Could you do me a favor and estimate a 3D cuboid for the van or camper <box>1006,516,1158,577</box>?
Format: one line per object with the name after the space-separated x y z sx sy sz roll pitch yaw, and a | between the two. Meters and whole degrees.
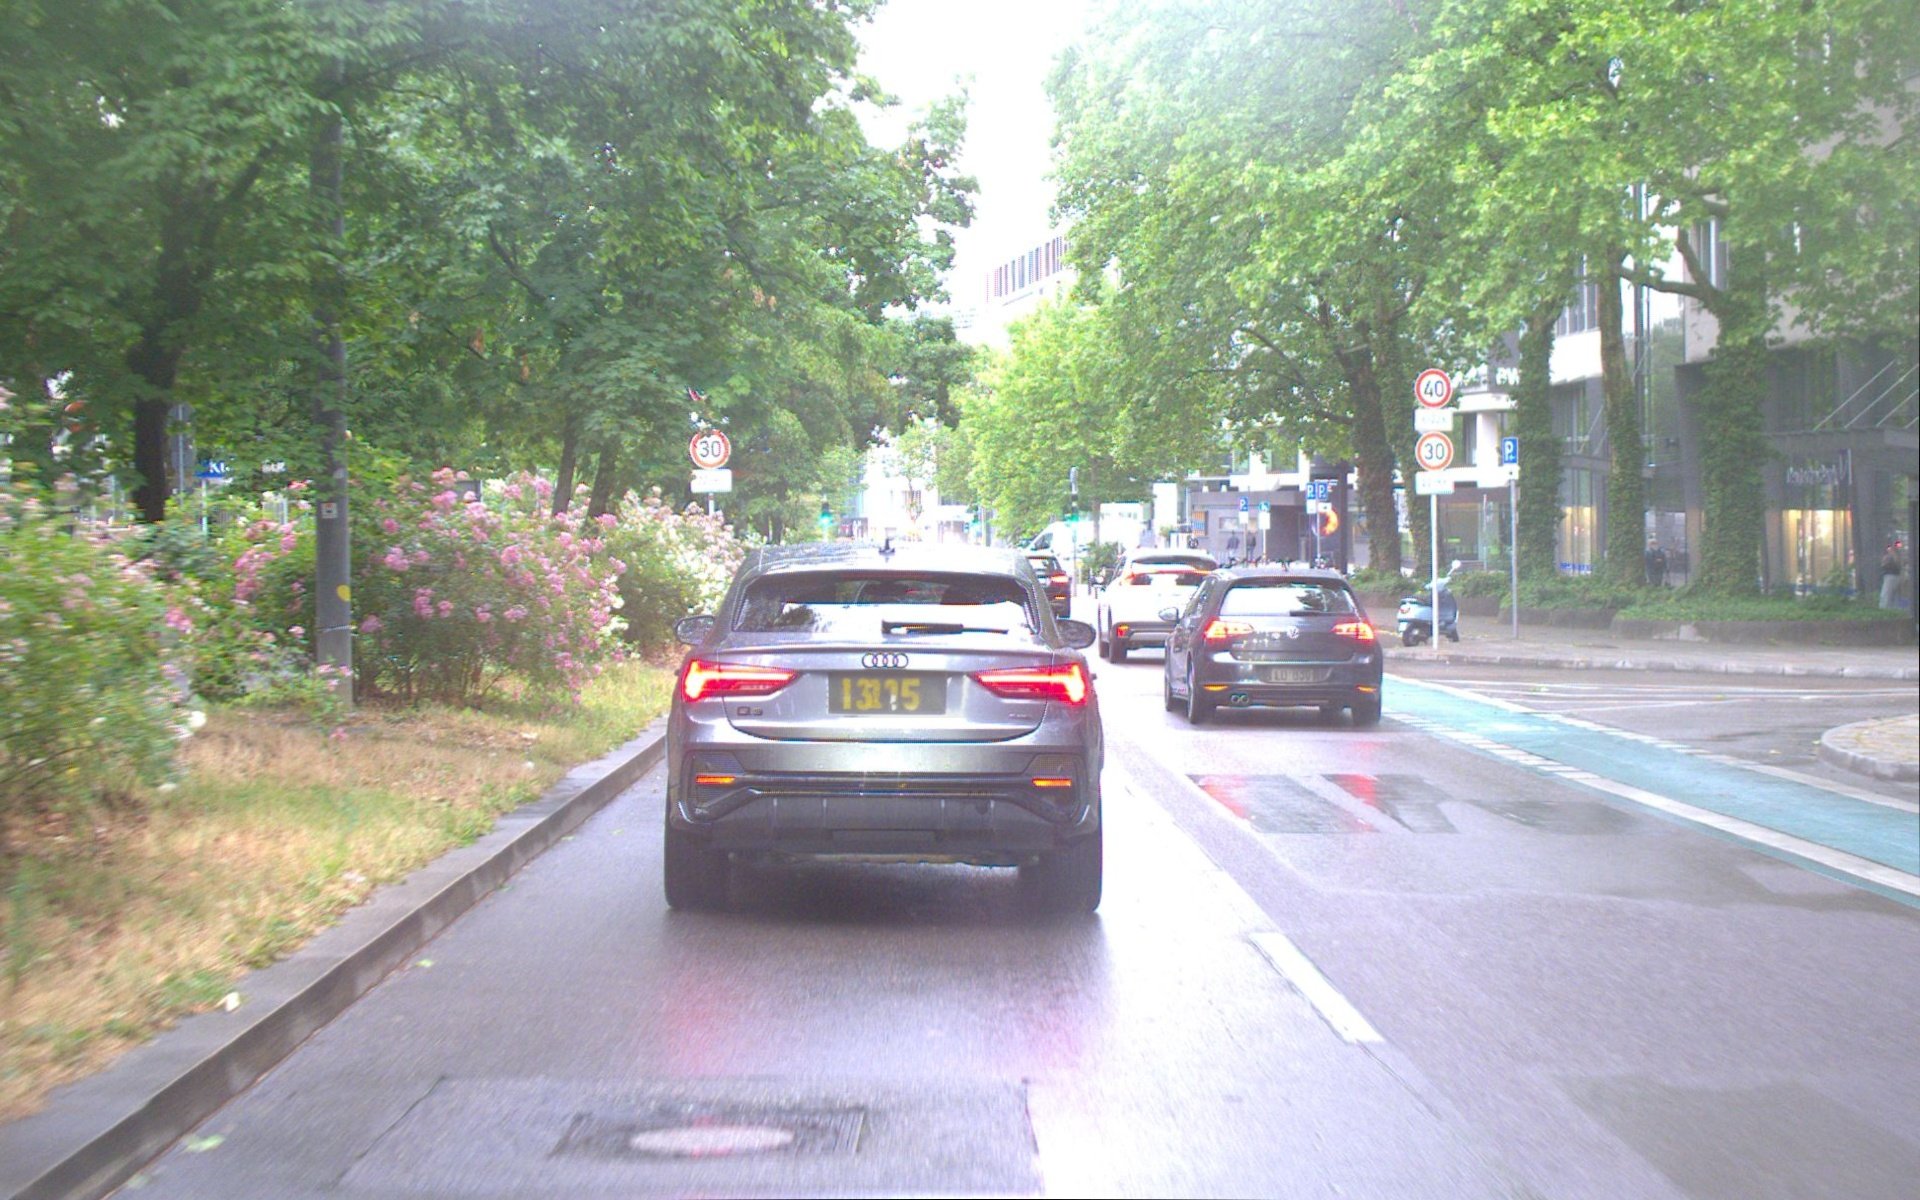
5.159 -2.244 145.365 6.074 2.549 2.102 0 1 26 | van or camper

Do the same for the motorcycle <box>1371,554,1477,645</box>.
7.452 -0.018 55.171 0.684 1.362 1.941 -3 0 40 | motorcycle

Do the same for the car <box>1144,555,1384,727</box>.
2.814 0.342 32.603 1.849 1.518 4.039 0 1 -1 | car

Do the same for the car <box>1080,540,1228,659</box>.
2.793 -0.036 50.259 1.849 1.663 4.039 0 1 -1 | car

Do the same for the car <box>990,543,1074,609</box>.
1.685 -0.585 81.887 1.849 1.518 4.039 0 1 -1 | car

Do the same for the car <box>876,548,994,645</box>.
-0.428 -0.079 56.130 1.849 1.518 4.039 0 1 -1 | car

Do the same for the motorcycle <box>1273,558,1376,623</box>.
7.277 -0.193 68.594 2.054 1.208 0.685 -3 1 -36 | motorcycle

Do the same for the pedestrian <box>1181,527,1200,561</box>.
11.337 -2.751 168.928 0.805 1.690 1.187 1 1 -1 | pedestrian

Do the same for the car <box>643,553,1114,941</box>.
-0.381 0.552 15.543 1.849 1.518 4.039 0 1 -2 | car

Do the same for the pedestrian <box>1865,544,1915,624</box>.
20.031 -0.355 74.048 0.728 1.687 0.826 0 2 42 | pedestrian

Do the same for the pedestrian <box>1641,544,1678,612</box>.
18.542 -0.596 91.120 0.825 1.797 0.729 0 1 2 | pedestrian

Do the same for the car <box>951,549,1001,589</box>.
0.622 -1.221 134.543 1.849 1.518 4.039 0 1 -1 | car

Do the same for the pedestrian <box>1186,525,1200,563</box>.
11.119 -2.651 163.846 0.553 1.799 0.762 1 0 -4 | pedestrian

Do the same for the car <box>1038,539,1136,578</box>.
5.150 -1.683 139.416 3.652 1.542 1.713 1 1 18 | car

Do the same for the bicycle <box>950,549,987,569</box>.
0.565 -2.664 221.791 2.337 1.308 0.710 0 1 -8 | bicycle

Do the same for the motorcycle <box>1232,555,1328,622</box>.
7.016 -0.260 75.358 1.955 1.369 0.729 -2 3 -22 | motorcycle
